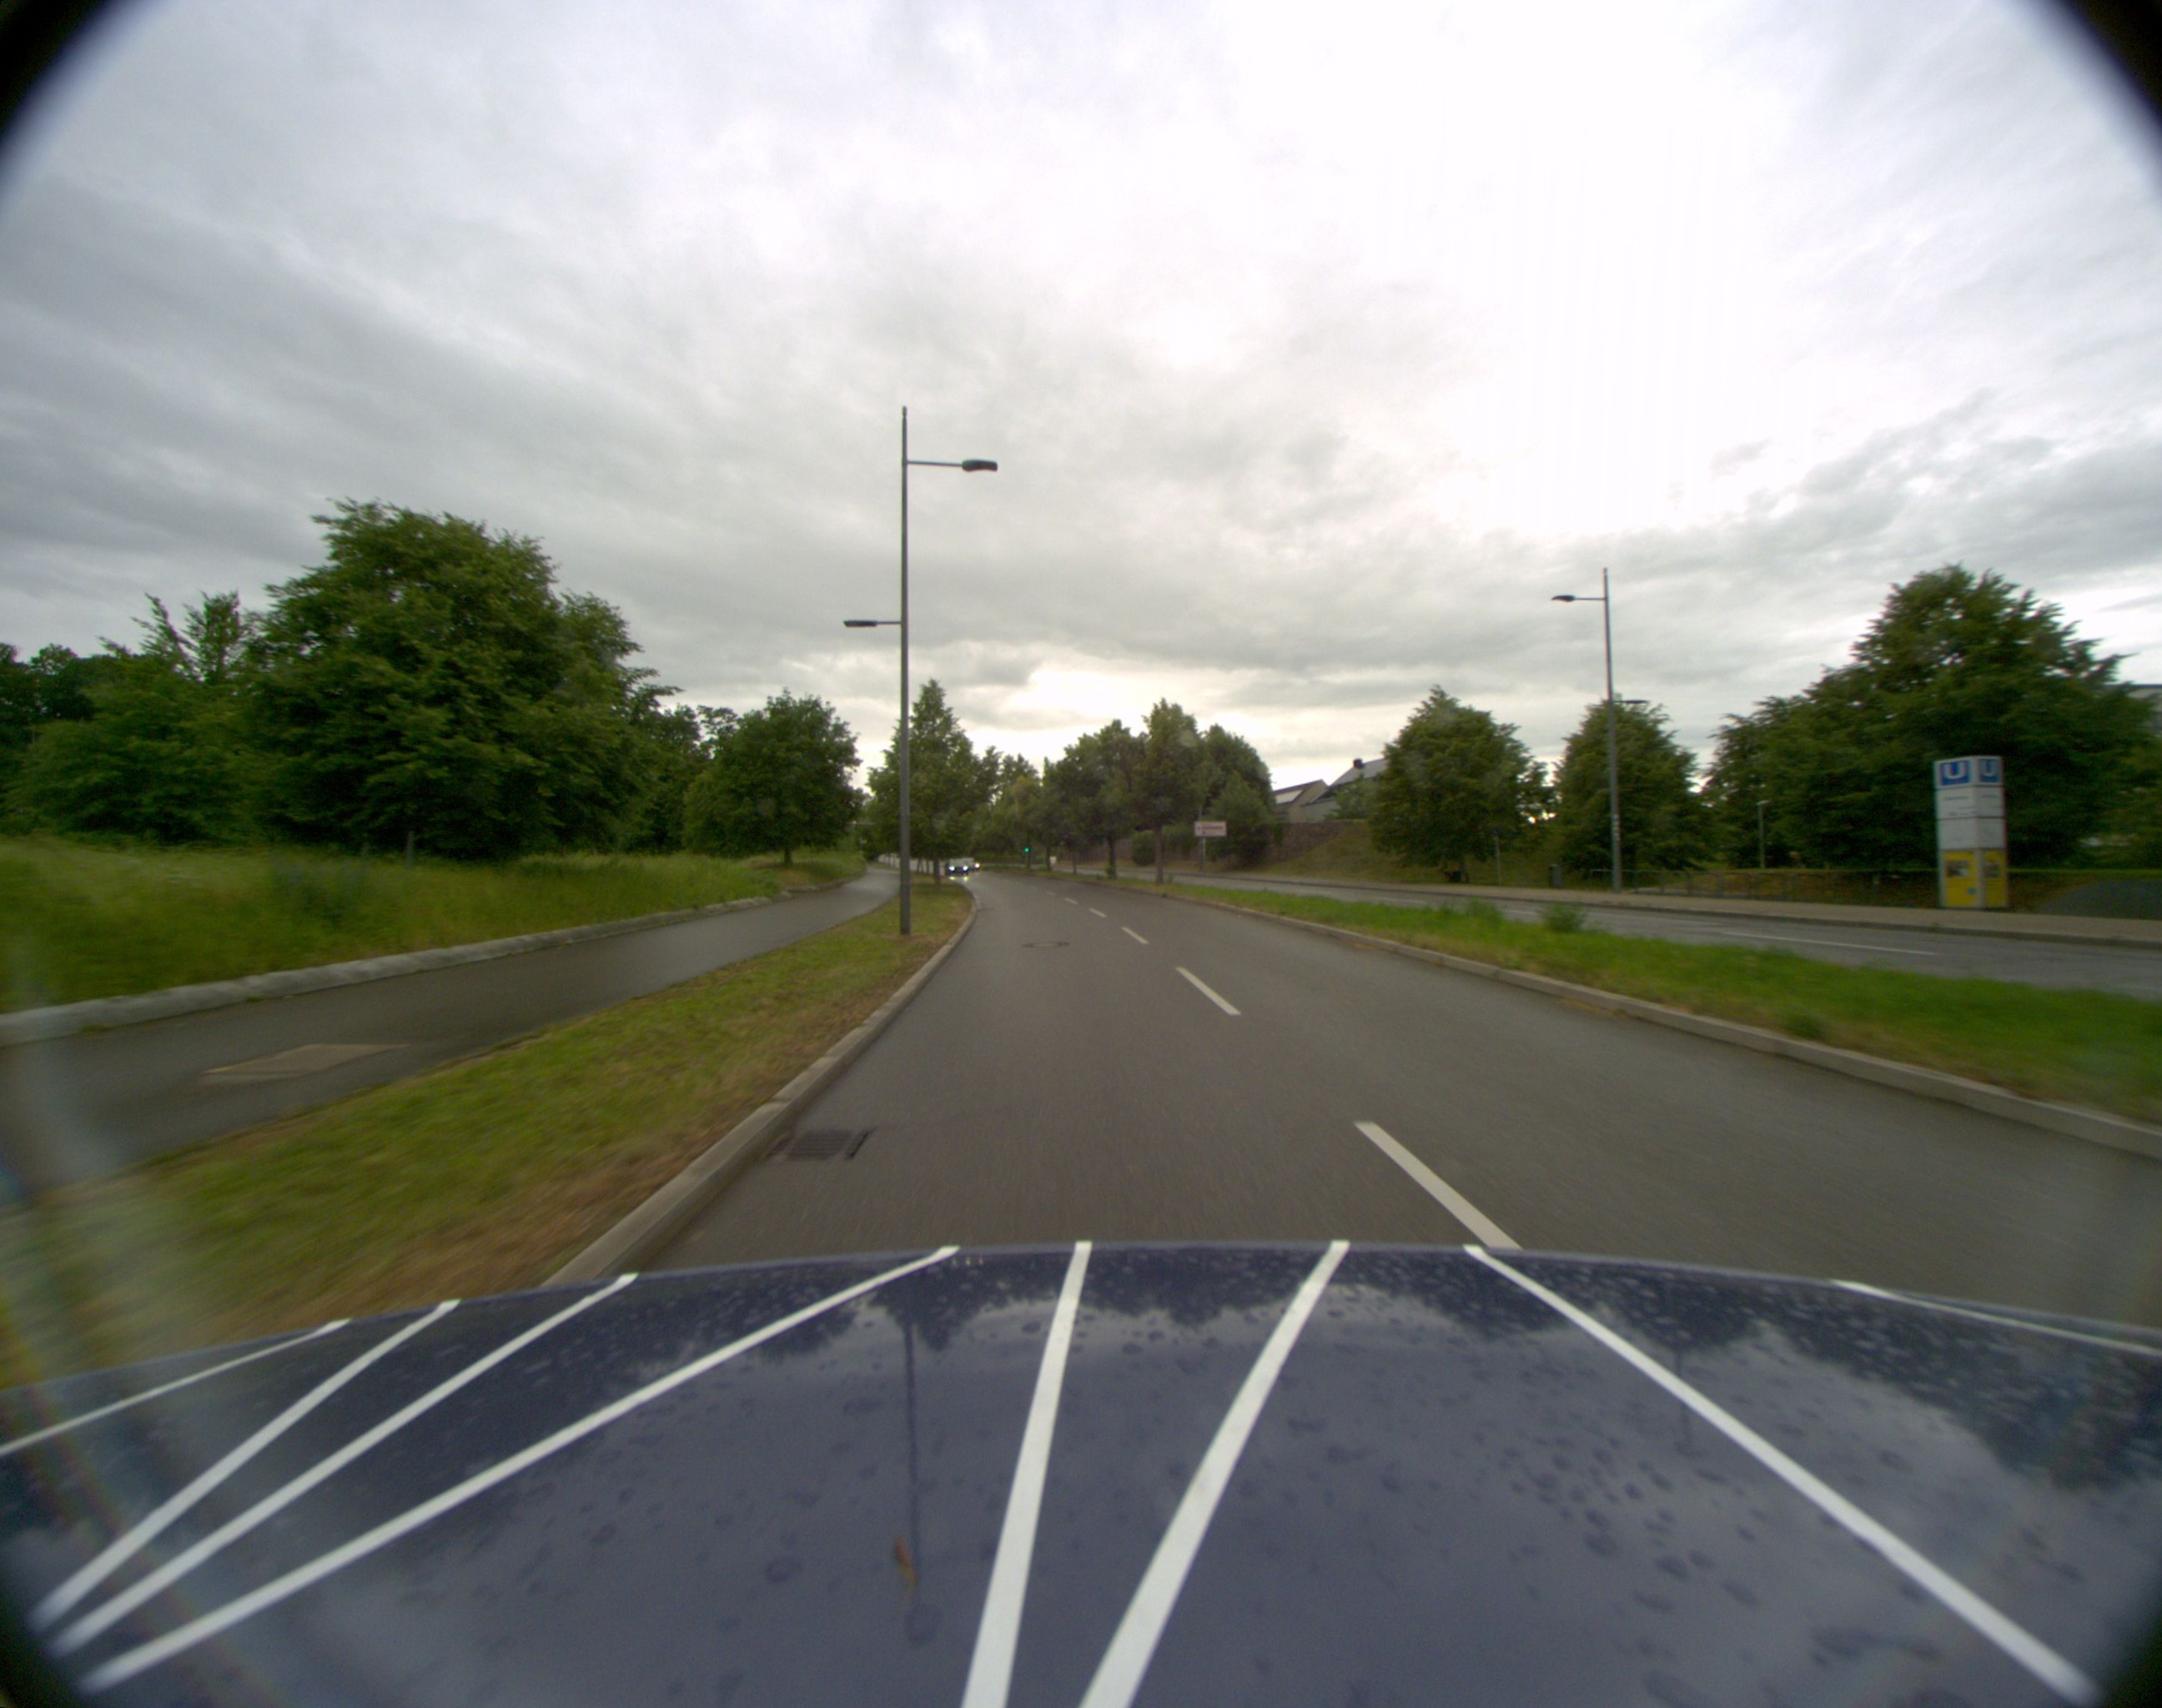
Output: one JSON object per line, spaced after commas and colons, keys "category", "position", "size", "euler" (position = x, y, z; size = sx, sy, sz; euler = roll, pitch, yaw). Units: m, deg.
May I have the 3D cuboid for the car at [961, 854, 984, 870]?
{"category": "car", "position": [-11.752, 0.827, 82.175], "size": [1.827, 1.548, 3.993], "euler": [-1, 2, -18]}

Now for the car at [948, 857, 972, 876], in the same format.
{"category": "car", "position": [-10.833, 1.104, 67.756], "size": [1.826, 1.548, 3.994], "euler": [-1, 1, -14]}

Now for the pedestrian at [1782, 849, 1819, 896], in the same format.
{"category": "pedestrian", "position": [27.500, 0.696, 29.058], "size": [0.647, 1.718, 0.755], "euler": [-1, 2, -5]}
